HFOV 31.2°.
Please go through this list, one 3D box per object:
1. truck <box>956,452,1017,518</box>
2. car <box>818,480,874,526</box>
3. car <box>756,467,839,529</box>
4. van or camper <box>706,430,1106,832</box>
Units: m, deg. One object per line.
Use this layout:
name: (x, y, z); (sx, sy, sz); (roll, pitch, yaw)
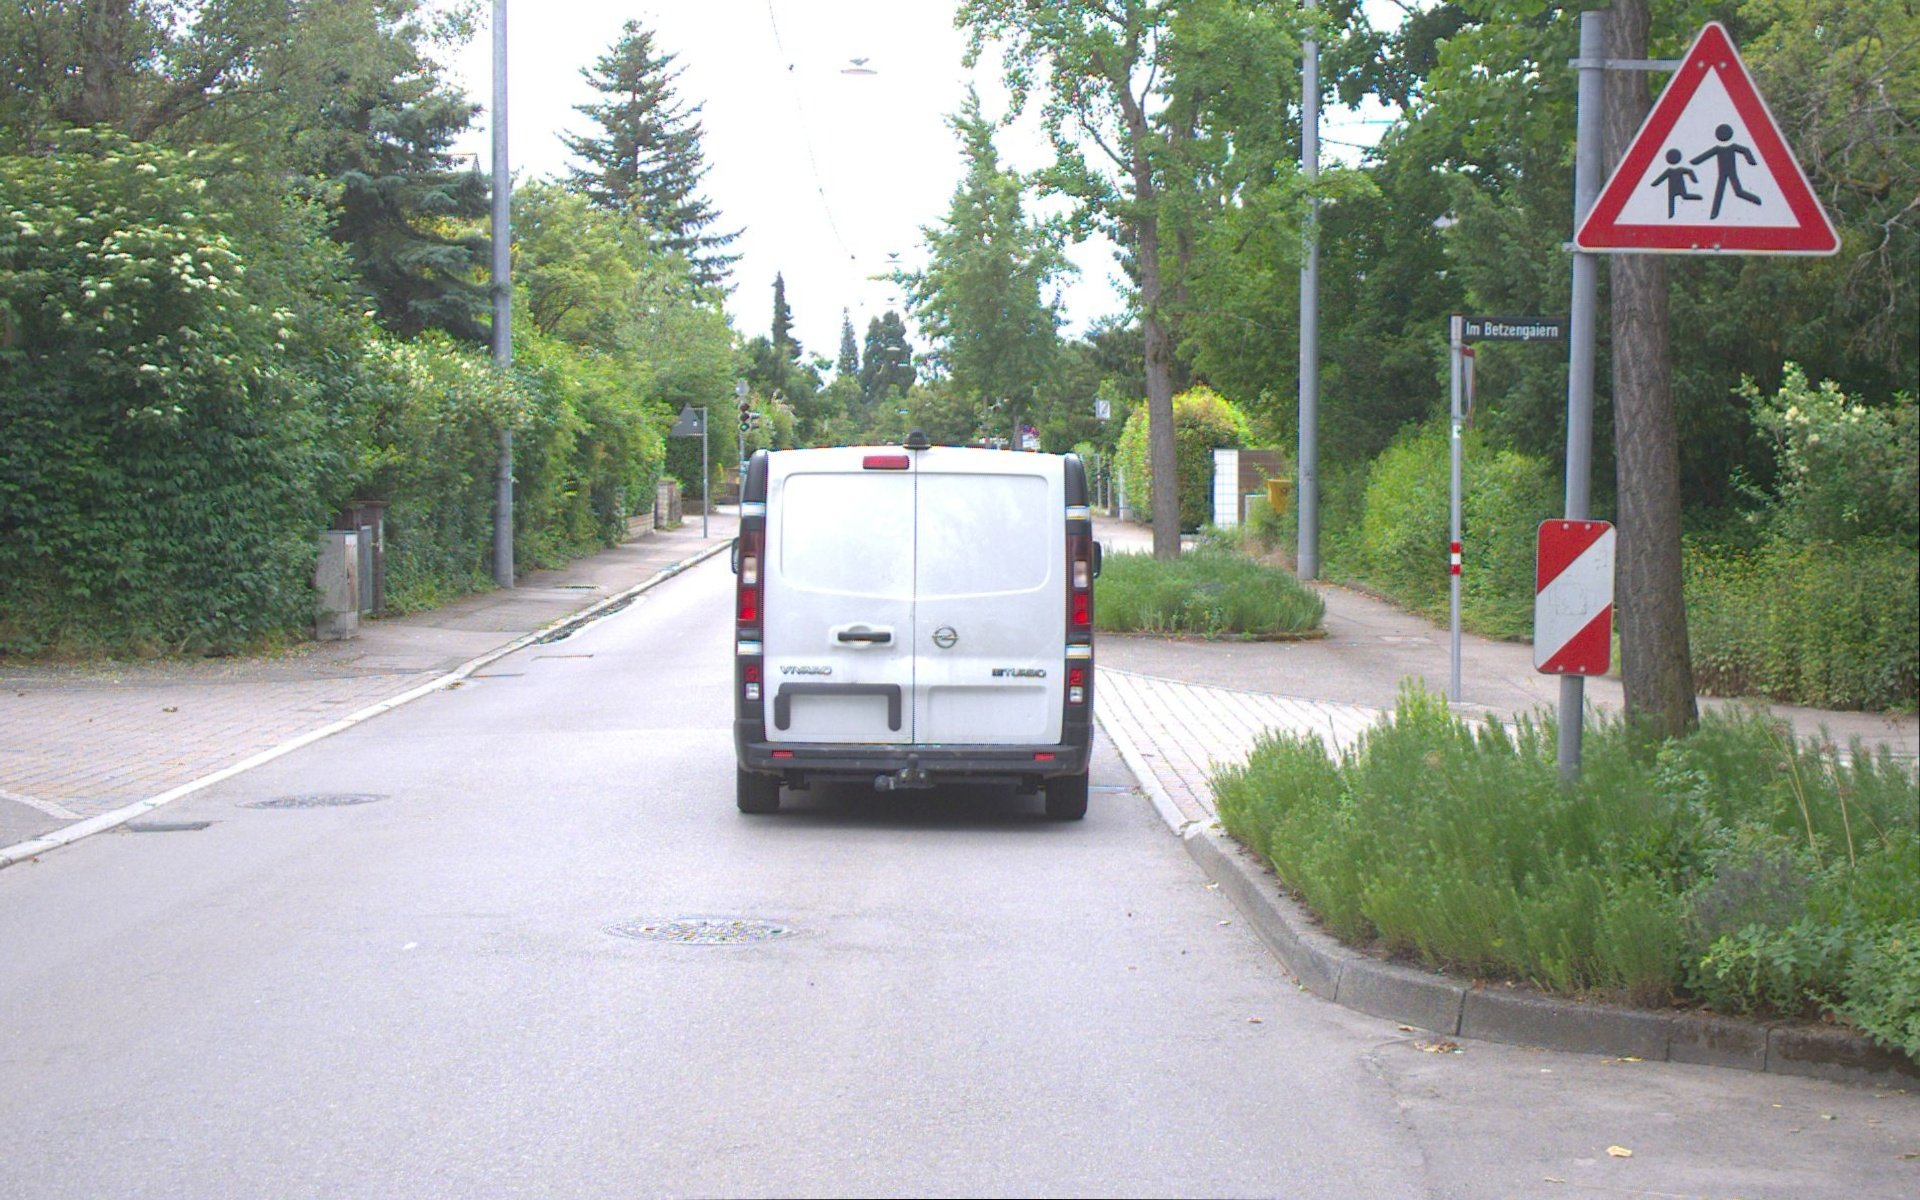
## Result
truck: (1.002, -4.549, 134.942); (2.187, 2.463, 7.432); (1, 2, -1)
car: (-3.868, -3.299, 116.486); (1.805, 1.426, 4.119); (-3, 2, -2)
car: (-4.048, -2.573, 85.993); (1.805, 1.426, 4.301); (-2, 2, 0)
van or camper: (-0.324, 0.108, 19.421); (1.939, 1.947, 4.766); (1, 1, -1)
